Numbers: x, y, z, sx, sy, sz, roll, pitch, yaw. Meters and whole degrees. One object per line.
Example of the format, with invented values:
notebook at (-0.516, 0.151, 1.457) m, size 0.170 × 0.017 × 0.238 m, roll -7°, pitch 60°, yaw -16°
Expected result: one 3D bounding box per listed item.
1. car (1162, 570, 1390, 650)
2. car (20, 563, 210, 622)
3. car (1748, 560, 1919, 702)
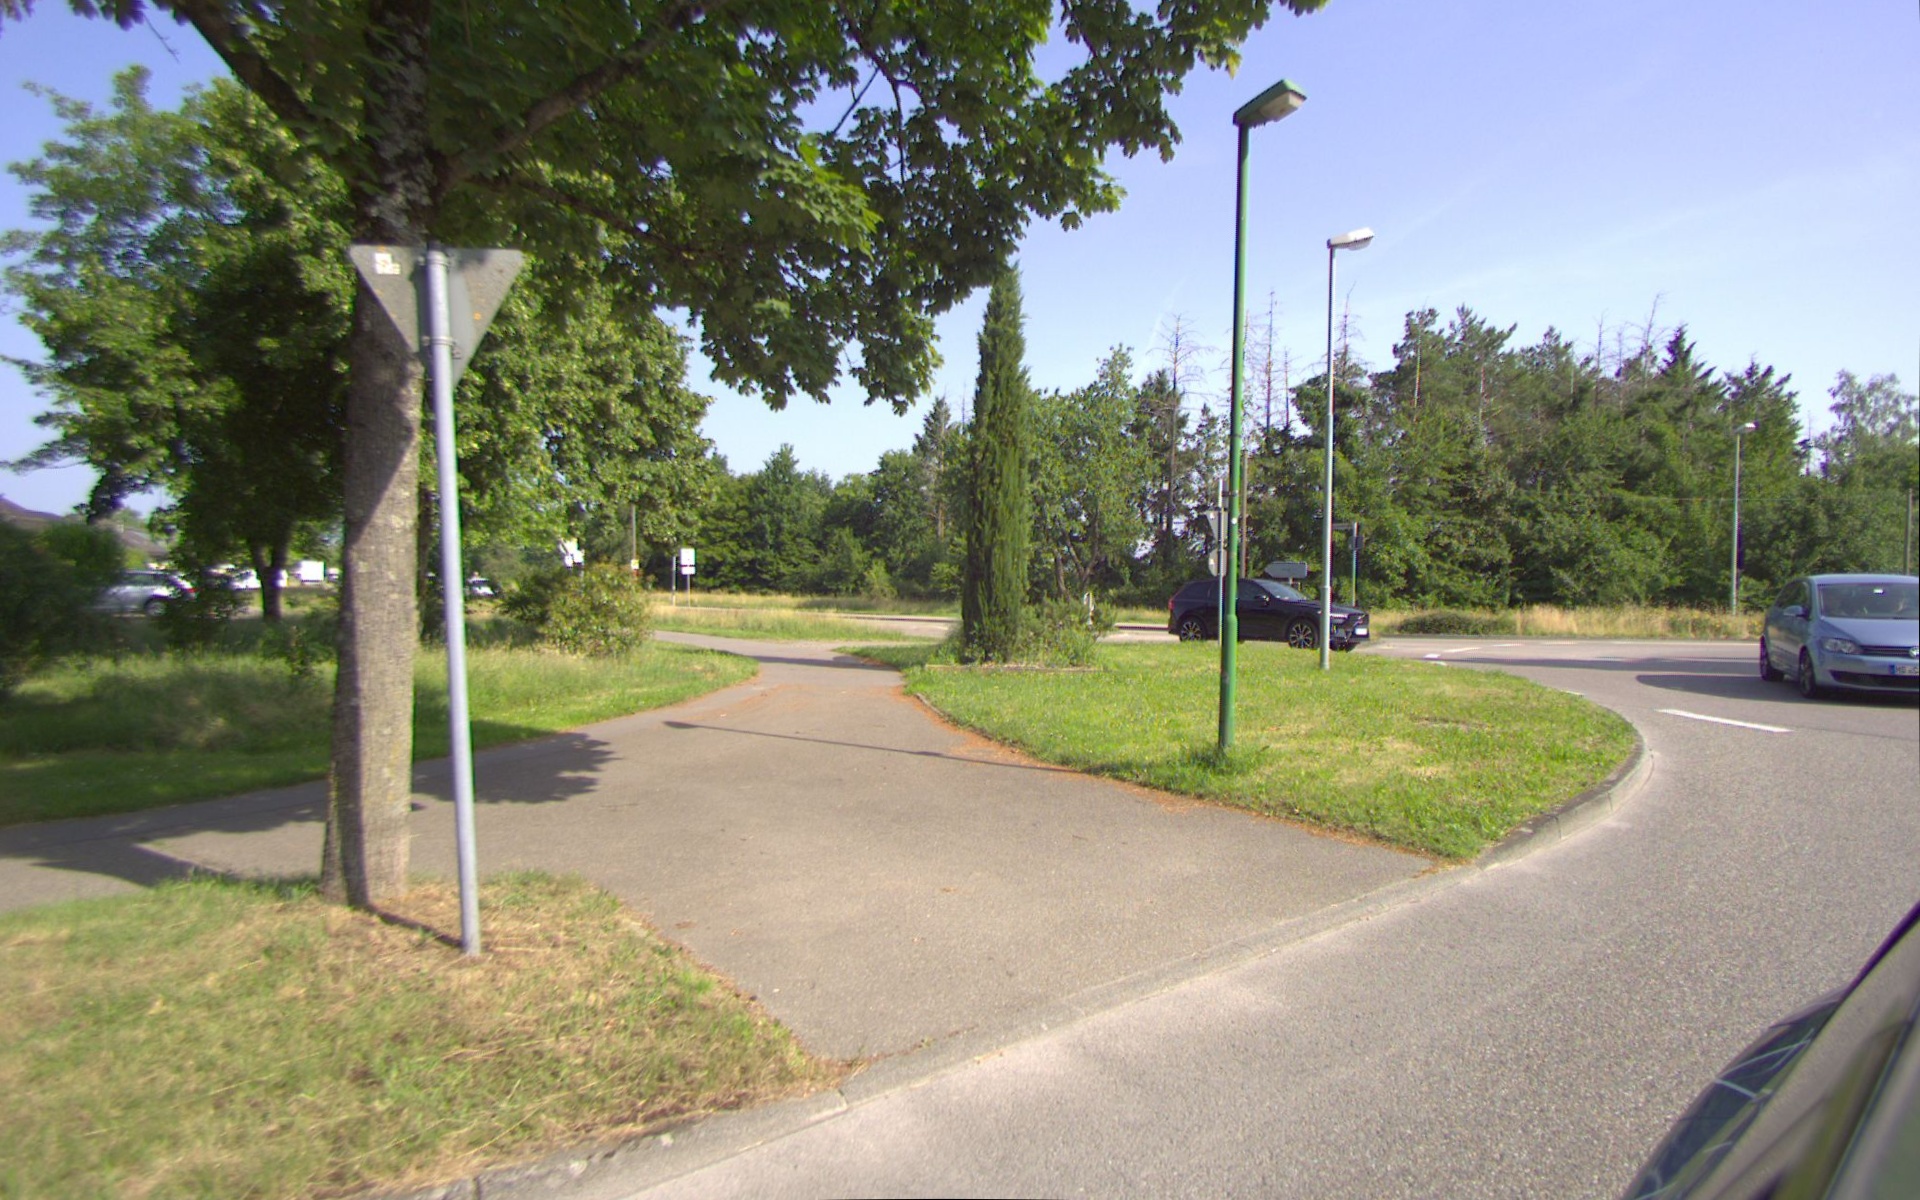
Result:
car at (7.038, 0.150, 22.930) m, size 1.920 × 1.621 × 4.612 m, roll 0°, pitch 1°, yaw -42°
car at (-25.006, -0.241, 30.145) m, size 3.987 × 1.643 × 1.880 m, roll 0°, pitch 1°, yaw -24°
car at (12.004, 0.324, 13.350) m, size 1.793 × 1.621 × 4.228 m, roll 1°, pitch 1°, yaw 28°
